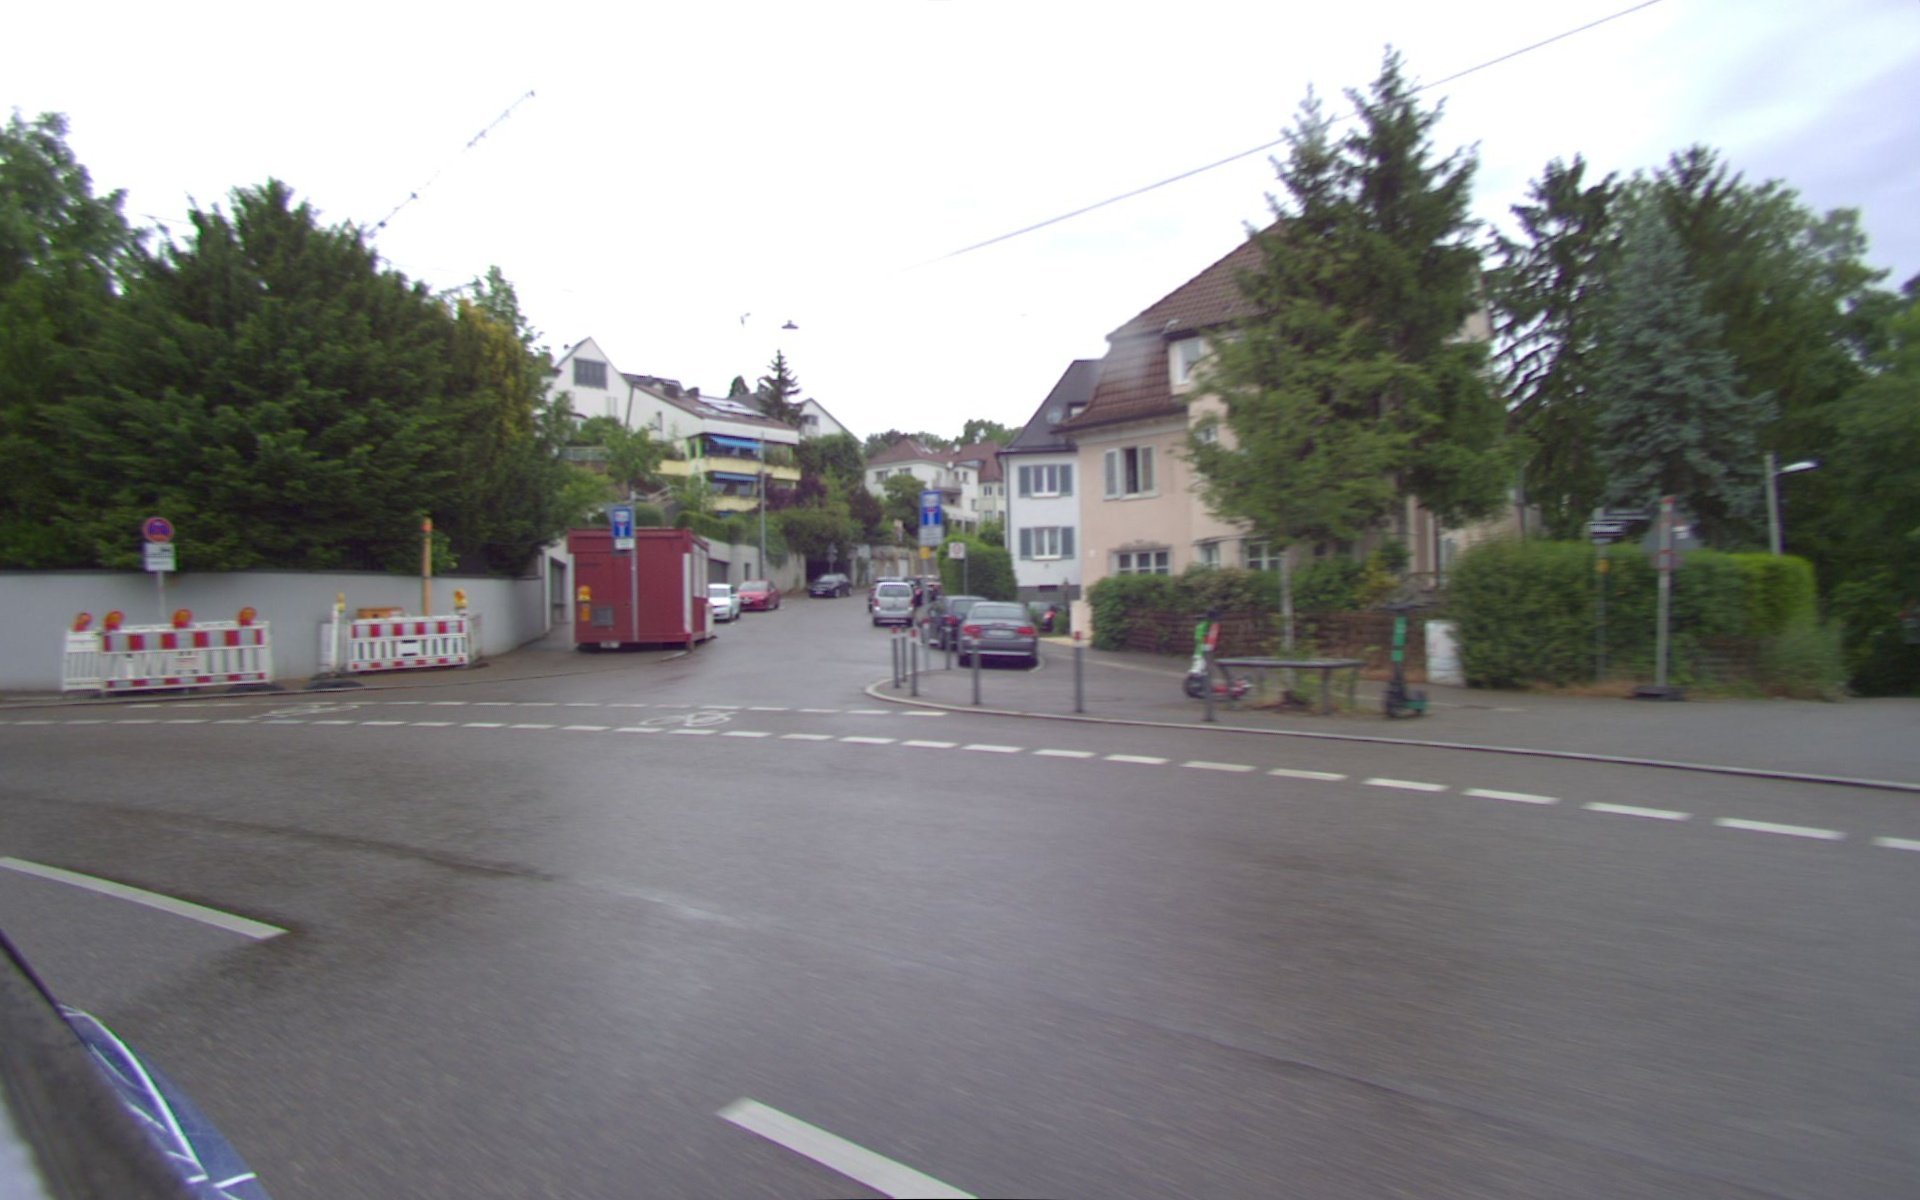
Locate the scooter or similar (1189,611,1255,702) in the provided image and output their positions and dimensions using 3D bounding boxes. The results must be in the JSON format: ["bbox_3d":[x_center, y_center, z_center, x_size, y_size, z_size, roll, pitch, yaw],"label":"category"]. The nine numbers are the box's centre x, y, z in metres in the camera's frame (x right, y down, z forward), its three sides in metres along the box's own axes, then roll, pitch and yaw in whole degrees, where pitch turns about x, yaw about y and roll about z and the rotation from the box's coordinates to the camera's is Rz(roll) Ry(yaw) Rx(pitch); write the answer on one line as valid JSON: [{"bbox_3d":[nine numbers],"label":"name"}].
[{"bbox_3d":[3.489,0.734,13.471,1.020,1.173,0.244,0,0,-35],"label":"scooter or similar"}]

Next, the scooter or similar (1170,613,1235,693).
[{"bbox_3d":[3.423,0.732,14.272,1.019,1.077,0.244,0,0,-33],"label":"scooter or similar"}]

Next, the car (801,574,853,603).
[{"bbox_3d":[-8.122,-0.727,62.109,1.862,1.504,3.986,-4,2,11],"label":"car"}]

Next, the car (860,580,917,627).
[{"bbox_3d":[-2.871,0.088,39.921,1.845,1.674,4.009,1,2,-9],"label":"car"}]

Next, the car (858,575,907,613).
[{"bbox_3d":[-3.816,-0.334,49.144,1.967,1.718,4.009,1,2,-10],"label":"car"}]

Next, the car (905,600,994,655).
[{"bbox_3d":[-0.387,0.700,28.322,1.647,1.413,4.215,0,0,-12],"label":"car"}]

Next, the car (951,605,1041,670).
[{"bbox_3d":[0.710,0.770,22.728,1.651,1.276,4.207,0,0,-3],"label":"car"}]

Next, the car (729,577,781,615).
[{"bbox_3d":[-9.895,-0.154,49.068,1.847,1.674,4.001,0,-2,-2],"label":"car"}]

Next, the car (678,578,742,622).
[{"bbox_3d":[-10.088,-0.030,41.132,1.969,1.674,4.005,1,1,-5],"label":"car"}]

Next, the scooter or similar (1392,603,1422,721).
[{"bbox_3d":[4.898,0.646,11.080,0.242,1.227,1.027,0,0,27],"label":"scooter or similar"}]
